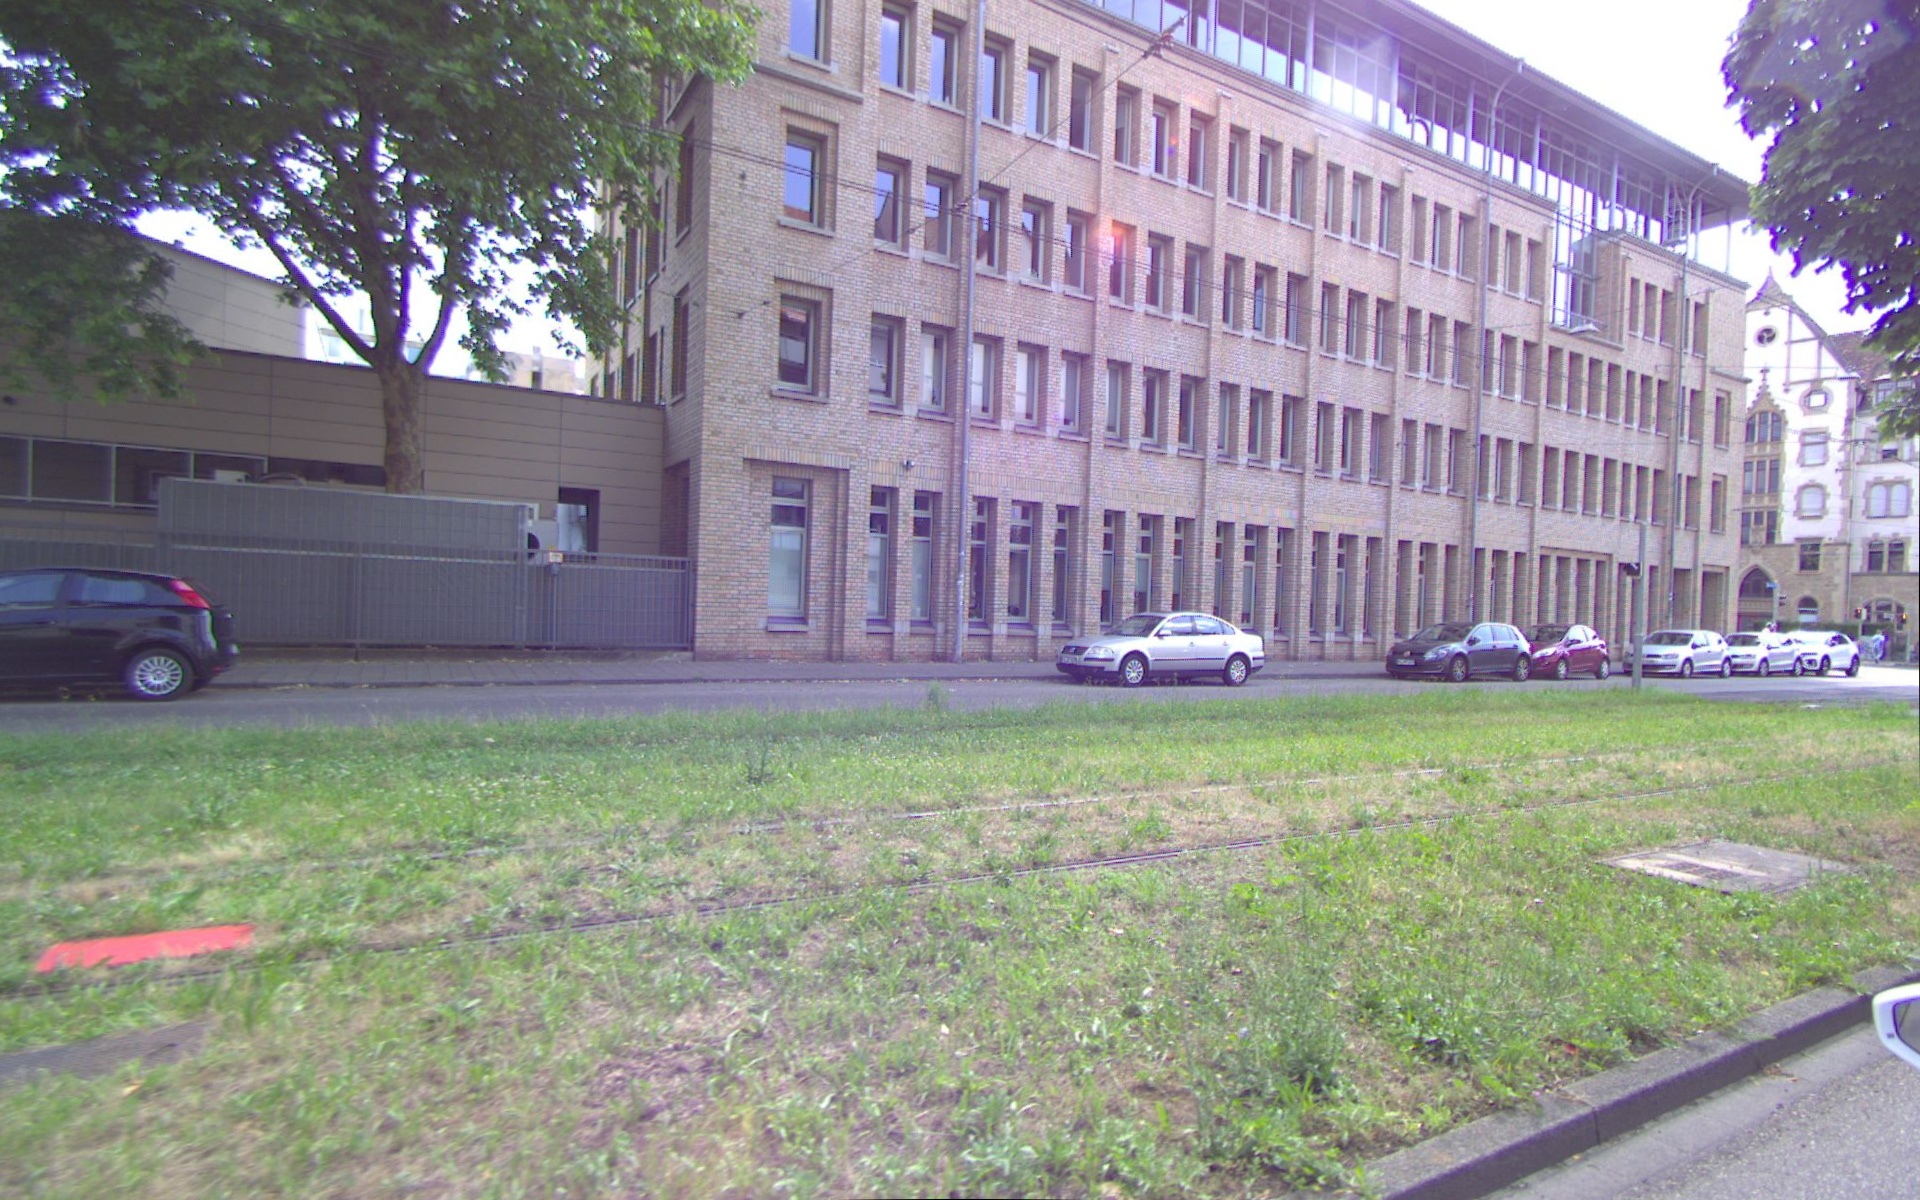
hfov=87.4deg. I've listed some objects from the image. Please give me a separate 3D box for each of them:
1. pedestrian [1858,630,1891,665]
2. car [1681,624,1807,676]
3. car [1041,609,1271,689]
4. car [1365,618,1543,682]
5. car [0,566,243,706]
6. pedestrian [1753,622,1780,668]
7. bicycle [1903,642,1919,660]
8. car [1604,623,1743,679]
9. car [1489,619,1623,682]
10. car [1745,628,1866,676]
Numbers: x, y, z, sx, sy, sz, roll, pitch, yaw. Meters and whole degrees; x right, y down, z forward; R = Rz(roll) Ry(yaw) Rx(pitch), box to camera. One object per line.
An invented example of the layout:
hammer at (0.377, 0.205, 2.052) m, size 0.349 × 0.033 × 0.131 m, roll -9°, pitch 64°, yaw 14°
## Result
pedestrian at (48.600, 2.516, 53.399) m, size 1.003 × 1.745 × 0.776 m, roll 2°, pitch 0°, yaw 16°
car at (26.180, 1.669, 33.543) m, size 3.966 × 1.551 × 1.924 m, roll 2°, pitch 0°, yaw -29°
car at (3.949, 0.963, 20.041) m, size 4.430 × 1.414 × 1.707 m, roll 2°, pitch 0°, yaw -29°
car at (12.342, 1.247, 25.057) m, size 4.188 × 1.414 × 1.924 m, roll 2°, pitch 0°, yaw -29°
car at (-10.655, 0.359, 11.295) m, size 3.949 × 1.472 × 1.796 m, roll 2°, pitch 0°, yaw -27°
pedestrian at (33.237, 1.838, 41.420) m, size 0.750 × 1.819 × 0.957 m, roll 2°, pitch 0°, yaw 35°
bicycle at (59.555, 3.164, 62.017) m, size 0.772 × 1.095 × 1.900 m, roll 2°, pitch -1°, yaw -40°
car at (21.836, 1.554, 30.712) m, size 4.159 × 1.551 × 1.843 m, roll 2°, pitch 0°, yaw -29°
car at (16.251, 1.366, 27.357) m, size 3.506 × 1.551 × 1.576 m, roll 2°, pitch 0°, yaw -29°
car at (30.124, 1.844, 35.789) m, size 4.206 × 1.555 × 1.924 m, roll 2°, pitch 0°, yaw -29°
